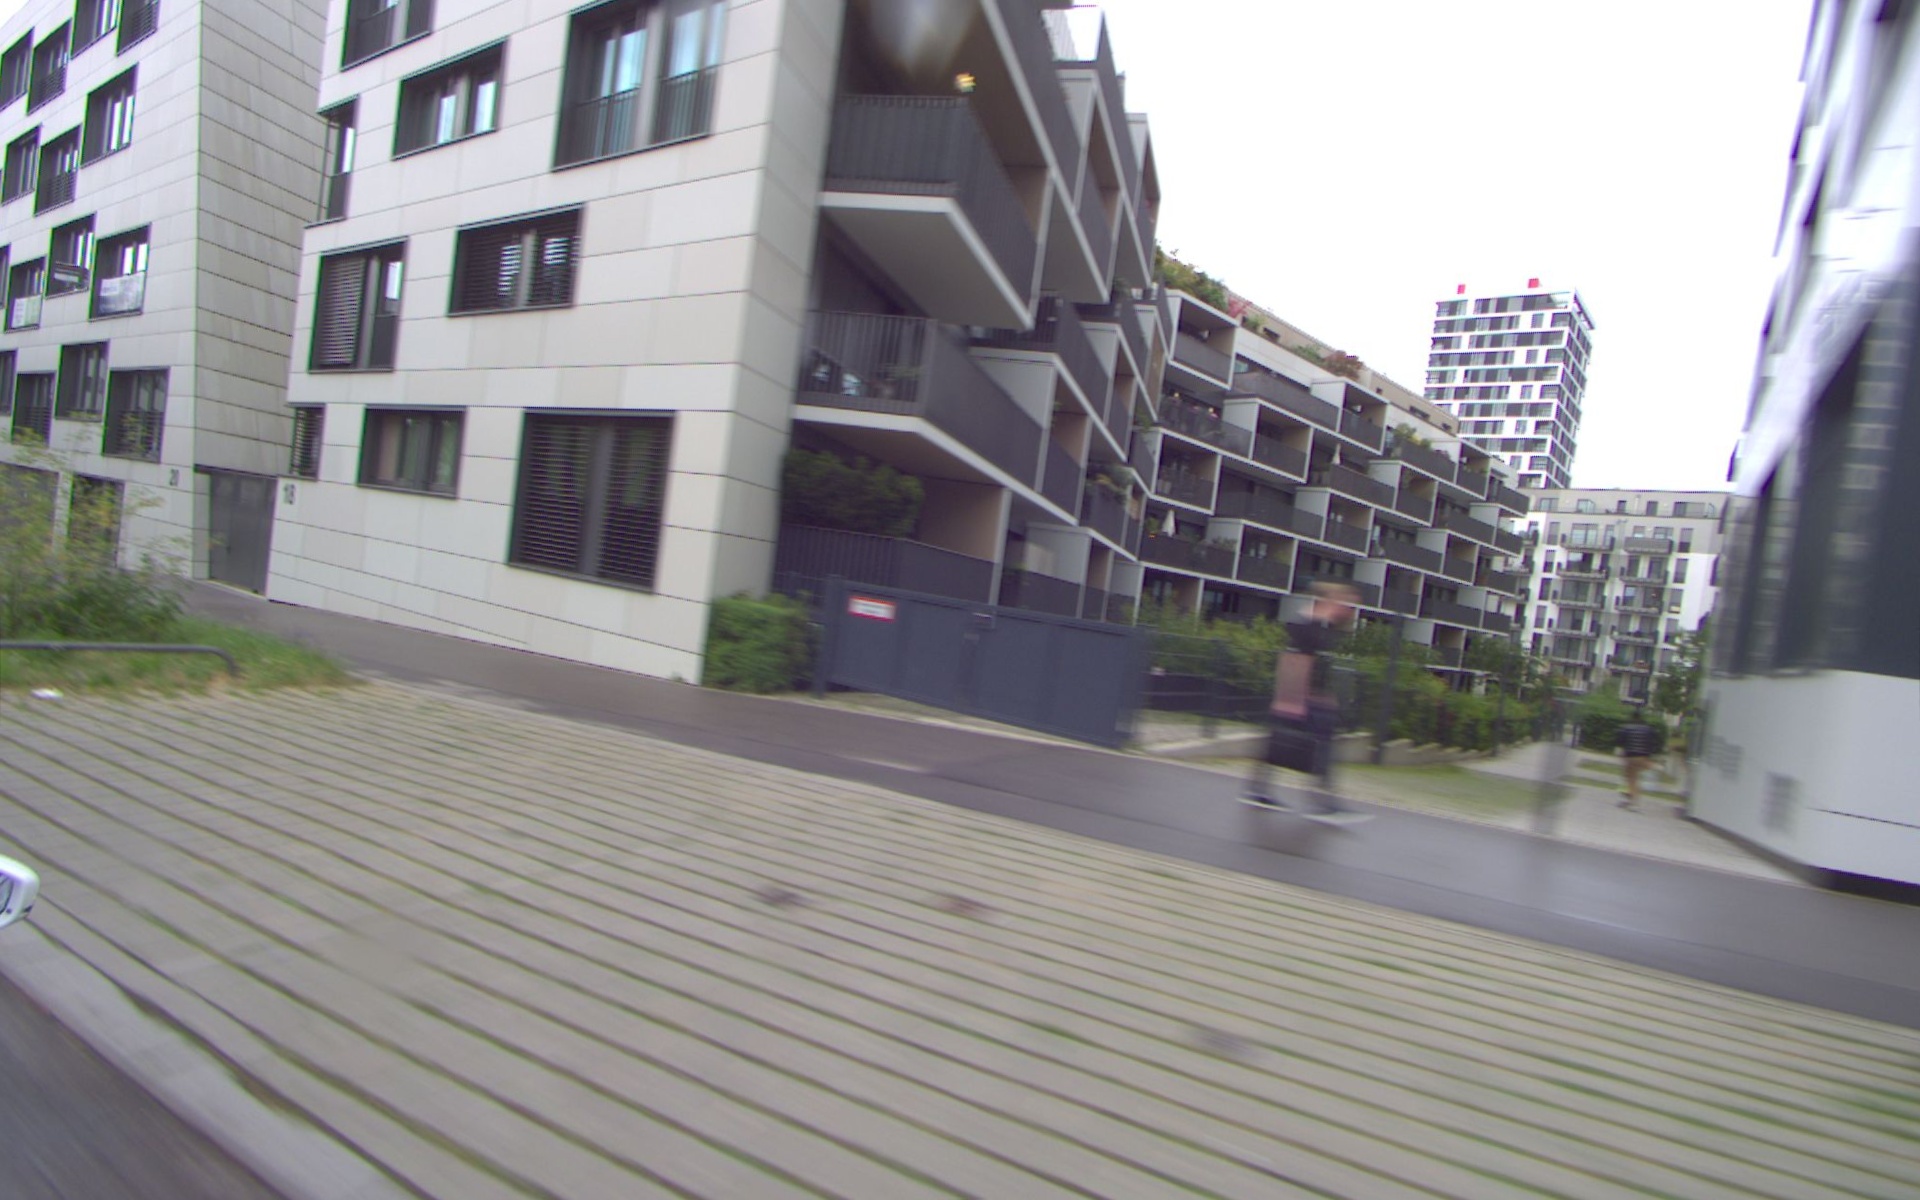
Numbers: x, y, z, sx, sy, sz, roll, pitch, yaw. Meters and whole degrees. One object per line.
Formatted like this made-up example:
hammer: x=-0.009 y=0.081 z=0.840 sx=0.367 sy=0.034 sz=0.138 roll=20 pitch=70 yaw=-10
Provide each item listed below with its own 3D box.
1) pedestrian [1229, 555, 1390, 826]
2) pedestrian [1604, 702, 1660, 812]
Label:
pedestrian: x=2.611 y=0.644 z=7.492 sx=0.765 sy=1.819 sz=0.823 roll=8 pitch=2 yaw=31
pedestrian: x=12.547 y=2.919 z=18.776 sx=0.644 sy=1.927 sz=0.569 roll=7 pitch=0 yaw=39
